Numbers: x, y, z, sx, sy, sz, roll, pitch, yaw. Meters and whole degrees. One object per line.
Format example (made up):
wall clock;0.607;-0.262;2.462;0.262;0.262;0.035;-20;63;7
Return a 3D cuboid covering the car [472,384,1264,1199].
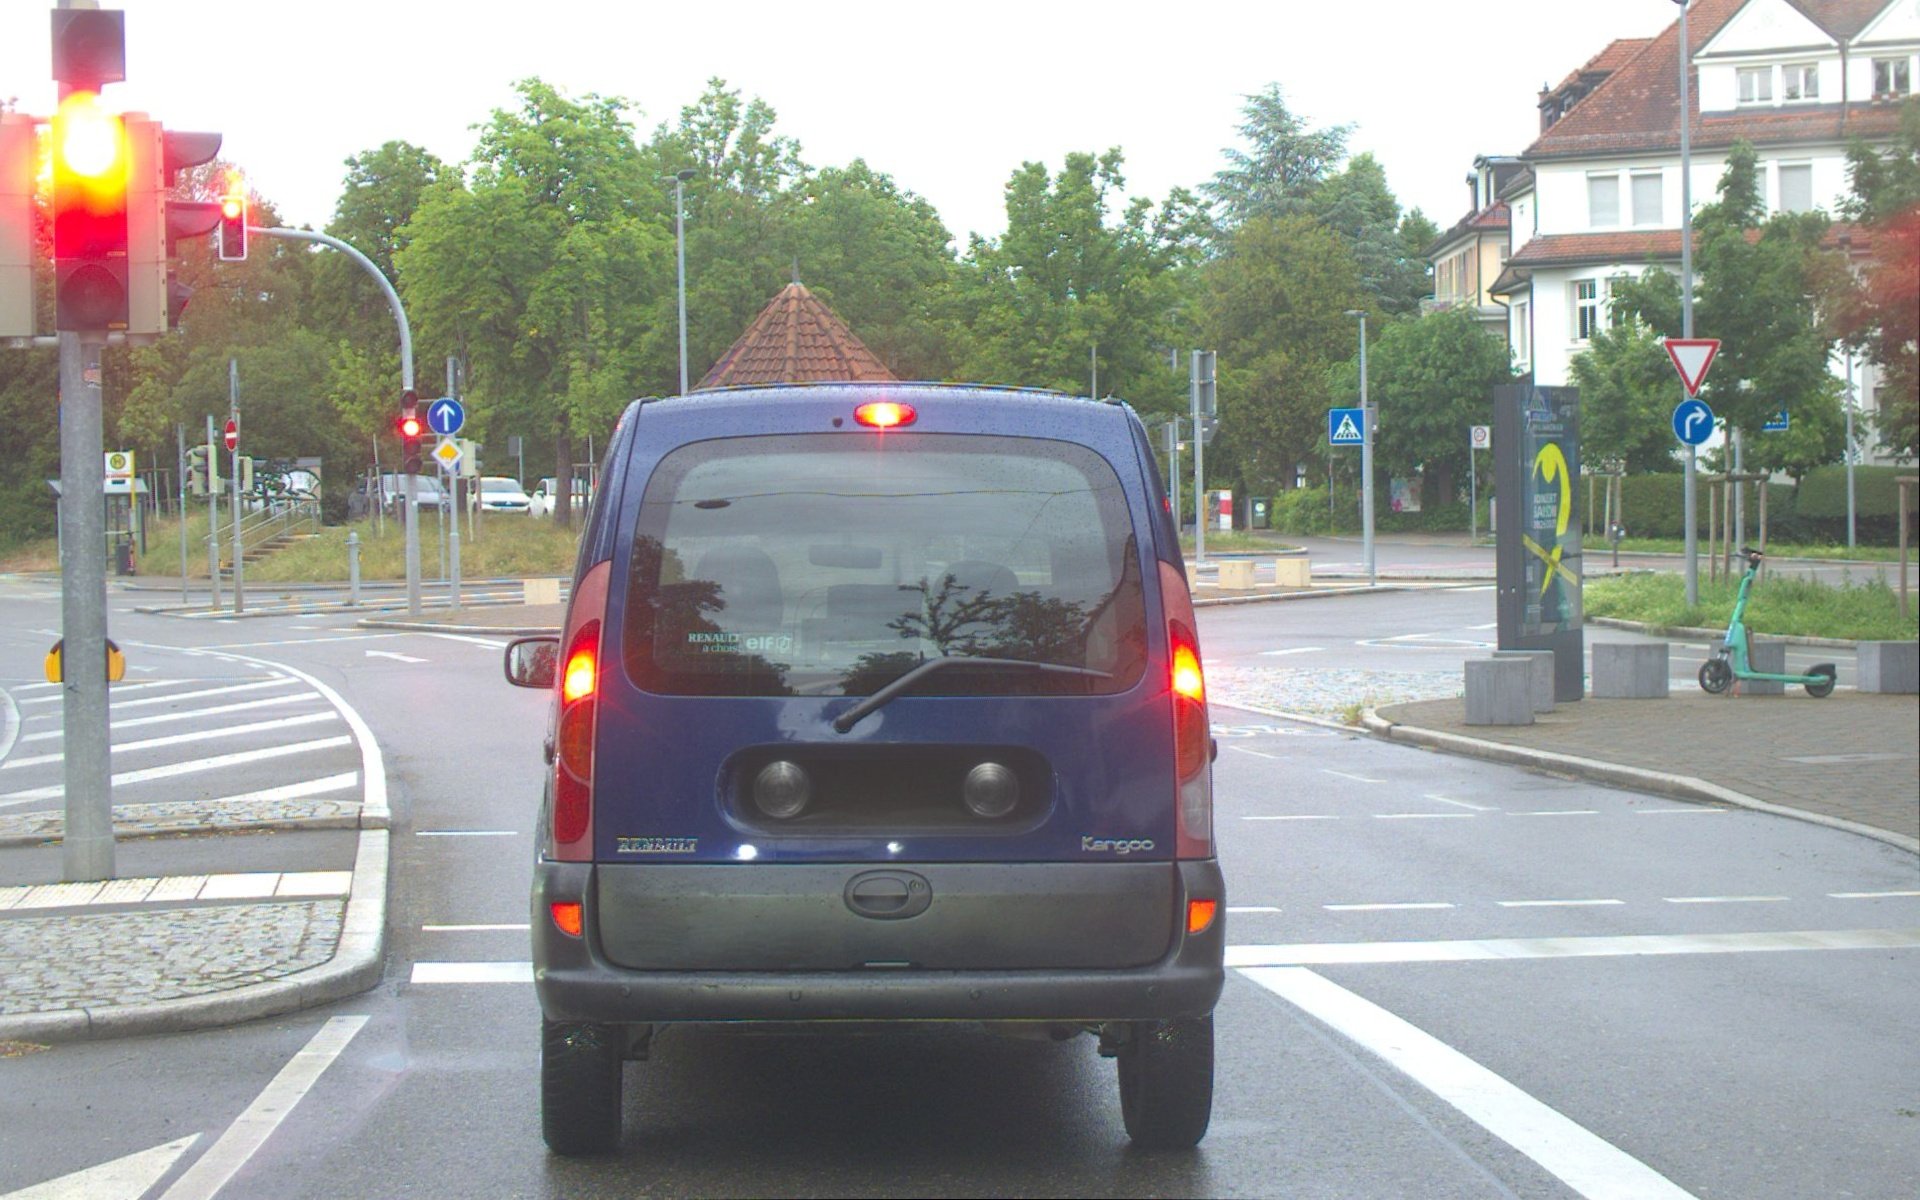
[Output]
car;-0.286;0.370;9.534;1.731;1.780;4.001;0;1;-3

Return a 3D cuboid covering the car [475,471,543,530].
car;-14.469;-3.179;110.414;1.993;1.806;4.001;0;0;-5

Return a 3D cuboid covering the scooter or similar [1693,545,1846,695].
scooter or similar;6.674;0.162;28.375;1.149;1.214;0.406;-1;0;-1
